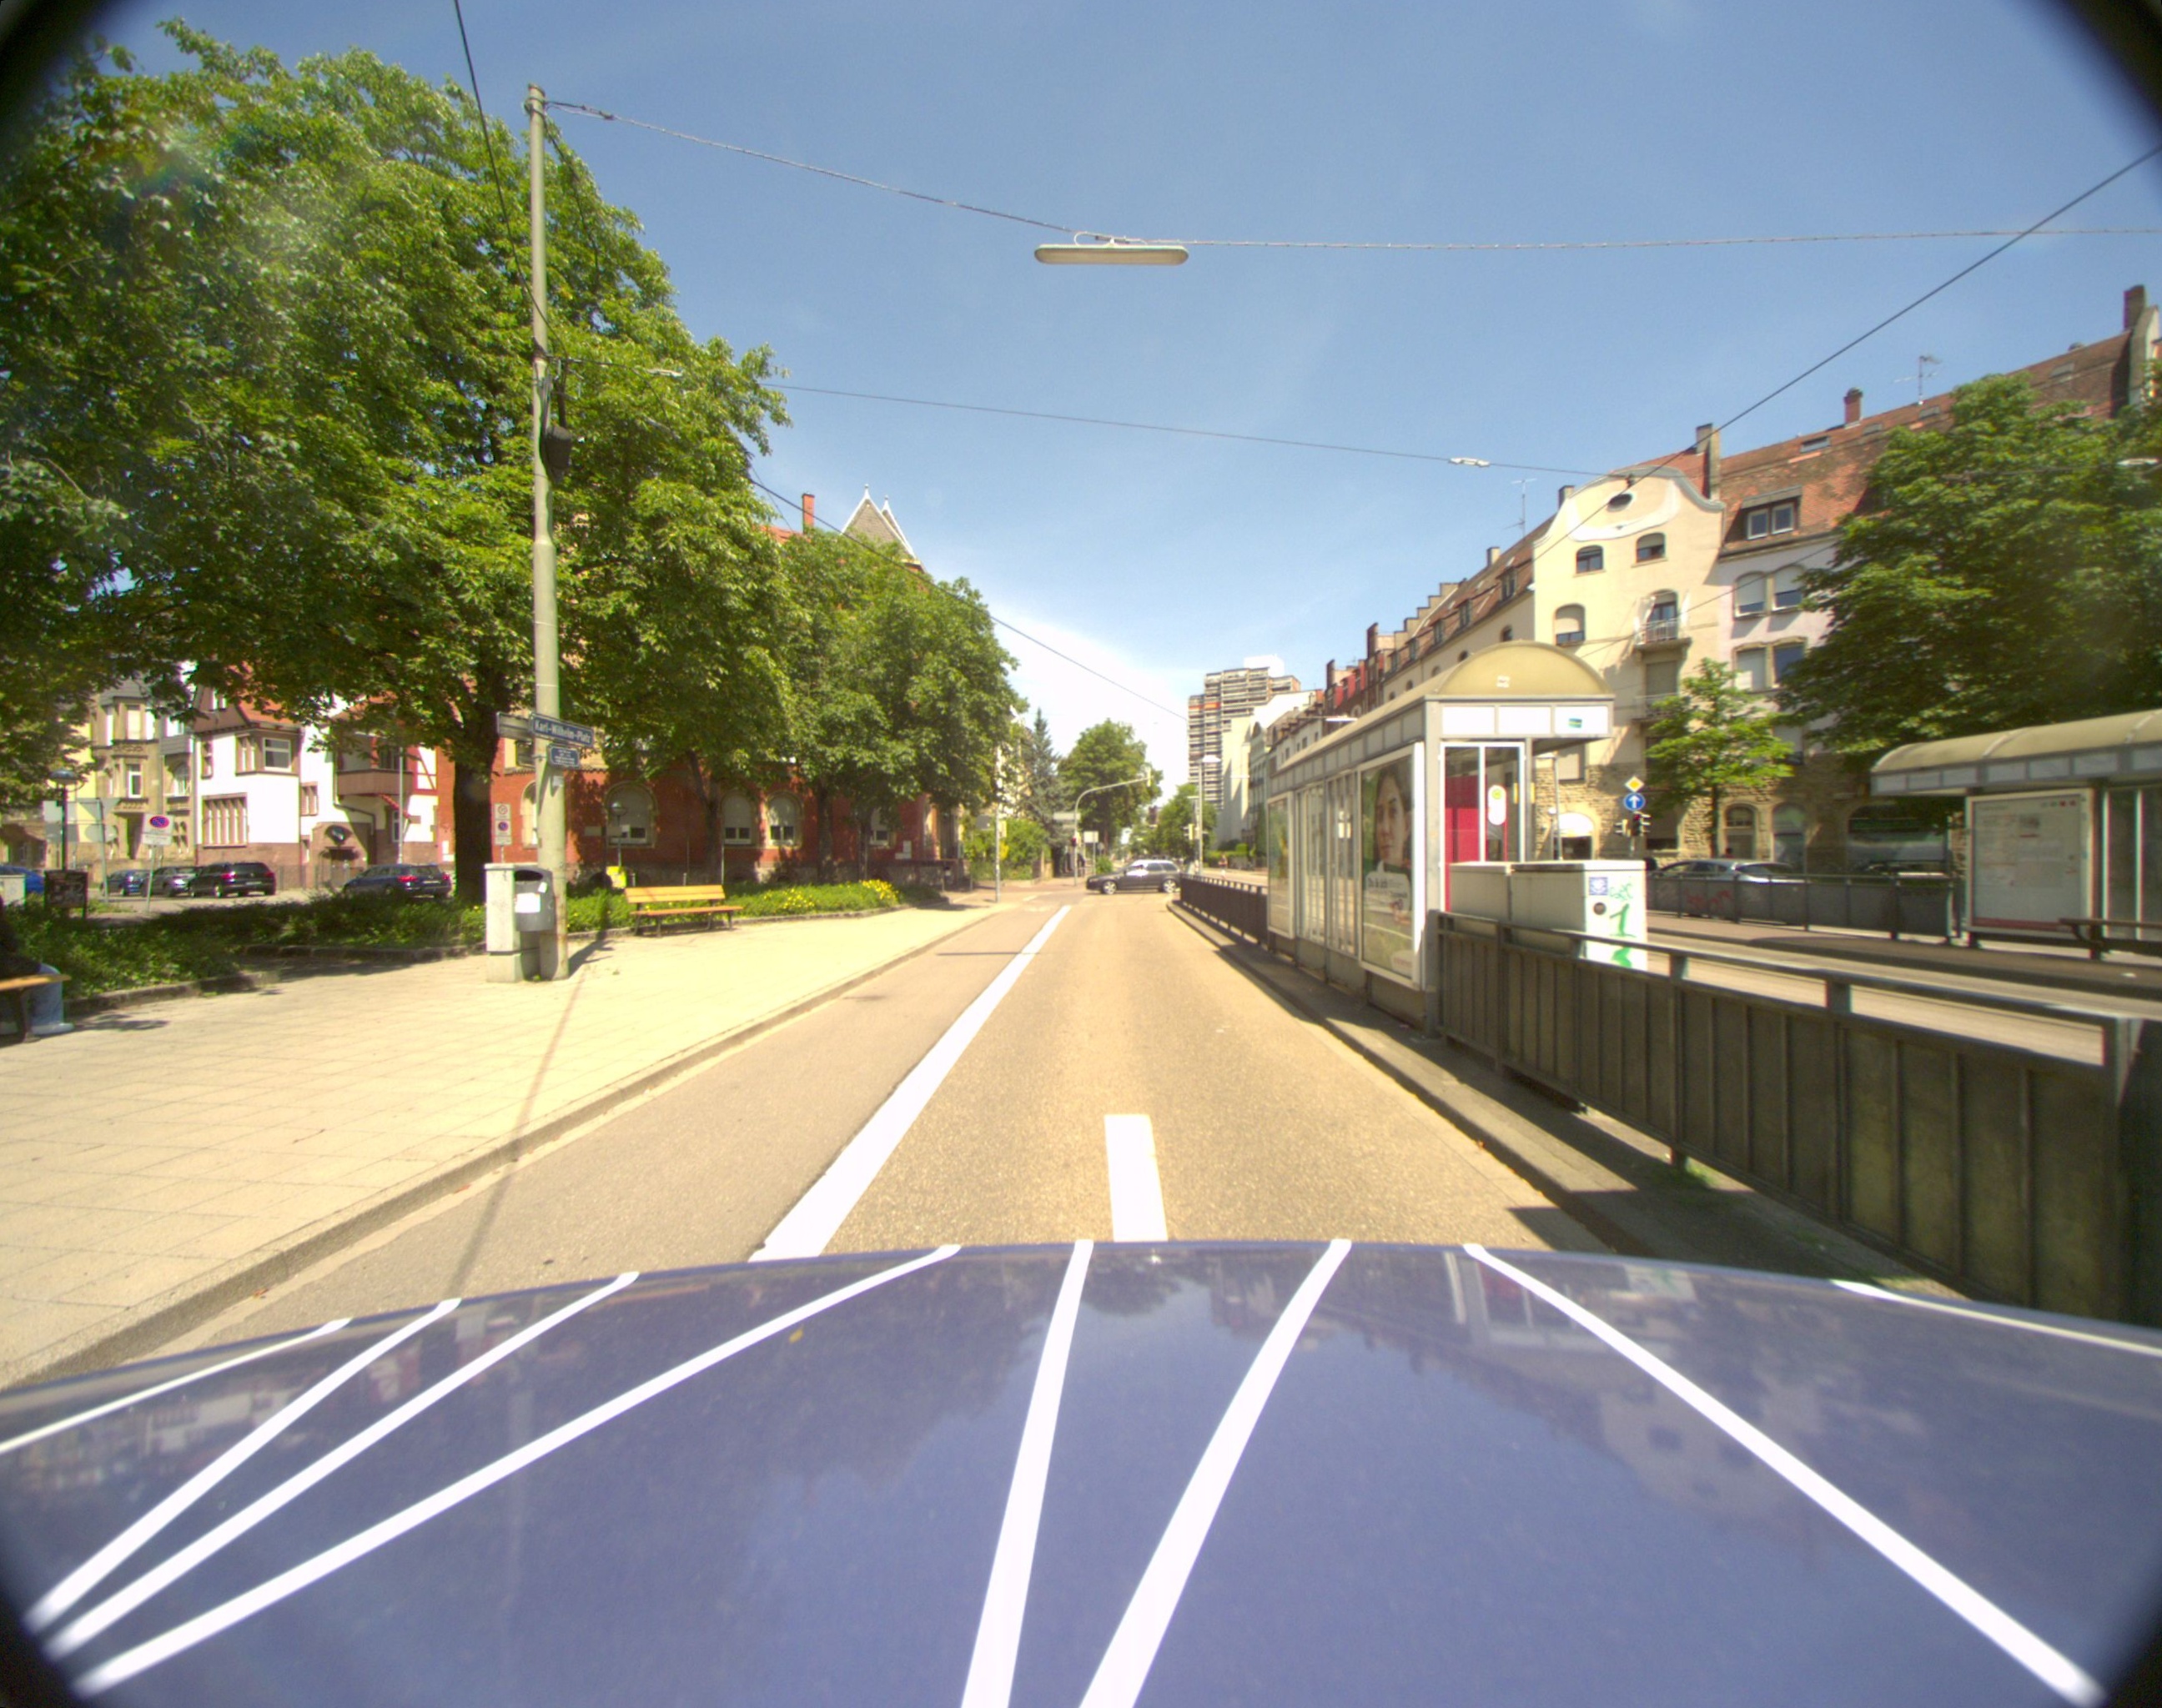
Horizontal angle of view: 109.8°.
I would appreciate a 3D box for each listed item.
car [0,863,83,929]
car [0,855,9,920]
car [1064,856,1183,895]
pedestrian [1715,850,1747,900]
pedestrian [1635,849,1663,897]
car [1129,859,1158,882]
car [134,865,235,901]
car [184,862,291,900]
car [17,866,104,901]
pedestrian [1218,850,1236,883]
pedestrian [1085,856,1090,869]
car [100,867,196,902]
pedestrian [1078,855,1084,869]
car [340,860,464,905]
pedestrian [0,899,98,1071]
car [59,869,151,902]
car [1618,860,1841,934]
[{"bbox_3d":[-32.848,1.302,22.031,1.934,1.869,4.315,-2,1,23],"label":"car"},{"bbox_3d":[-37.664,1.201,23.799,1.934,2.178,4.315,-2,1,23],"label":"car"},{"bbox_3d":[1.839,0.933,33.998,5.033,1.474,1.937,-2,1,-4],"label":"car"},{"bbox_3d":[20.380,0.645,23.834,0.594,1.542,0.474,0,0,-1],"label":"pedestrian"},{"bbox_3d":[19.359,0.652,25.913,0.594,1.637,0.474,0,0,5],"label":"pedestrian"},{"bbox_3d":[4.334,1.095,52.426,1.895,1.372,4.001,-2,1,5],"label":"car"},{"bbox_3d":[-44.153,1.432,37.416,4.299,1.608,1.941,-2,1,23],"label":"car"},{"bbox_3d":[-39.594,1.276,35.670,4.299,1.608,1.941,-2,1,23],"label":"car"},{"bbox_3d":[-59.182,1.711,44.083,4.299,1.862,1.941,-2,1,23],"label":"car"},{"bbox_3d":[8.018,0.674,41.647,0.838,1.813,0.673,0,0,-1],"label":"pedestrian"},{"bbox_3d":[0.942,1.147,106.320,0.686,1.732,0.660,-2,1,3],"label":"pedestrian"},{"bbox_3d":[-48.427,1.573,39.438,4.299,1.608,1.941,-2,1,23],"label":"car"},{"bbox_3d":[-0.043,0.893,88.073,0.702,1.645,0.665,0,0,1],"label":"pedestrian"},{"bbox_3d":[-27.047,1.134,30.291,4.299,1.608,1.941,-2,1,23],"label":"car"},{"bbox_3d":[-7.747,0.911,5.422,0.566,1.136,0.725,0,1,-16],"label":"pedestrian"},{"bbox_3d":[-53.028,1.730,41.273,4.299,1.608,1.941,-2,1,23],"label":"car"},{"bbox_3d":[14.834,0.909,17.731,1.812,1.386,3.999,-2,1,1],"label":"car"}]
